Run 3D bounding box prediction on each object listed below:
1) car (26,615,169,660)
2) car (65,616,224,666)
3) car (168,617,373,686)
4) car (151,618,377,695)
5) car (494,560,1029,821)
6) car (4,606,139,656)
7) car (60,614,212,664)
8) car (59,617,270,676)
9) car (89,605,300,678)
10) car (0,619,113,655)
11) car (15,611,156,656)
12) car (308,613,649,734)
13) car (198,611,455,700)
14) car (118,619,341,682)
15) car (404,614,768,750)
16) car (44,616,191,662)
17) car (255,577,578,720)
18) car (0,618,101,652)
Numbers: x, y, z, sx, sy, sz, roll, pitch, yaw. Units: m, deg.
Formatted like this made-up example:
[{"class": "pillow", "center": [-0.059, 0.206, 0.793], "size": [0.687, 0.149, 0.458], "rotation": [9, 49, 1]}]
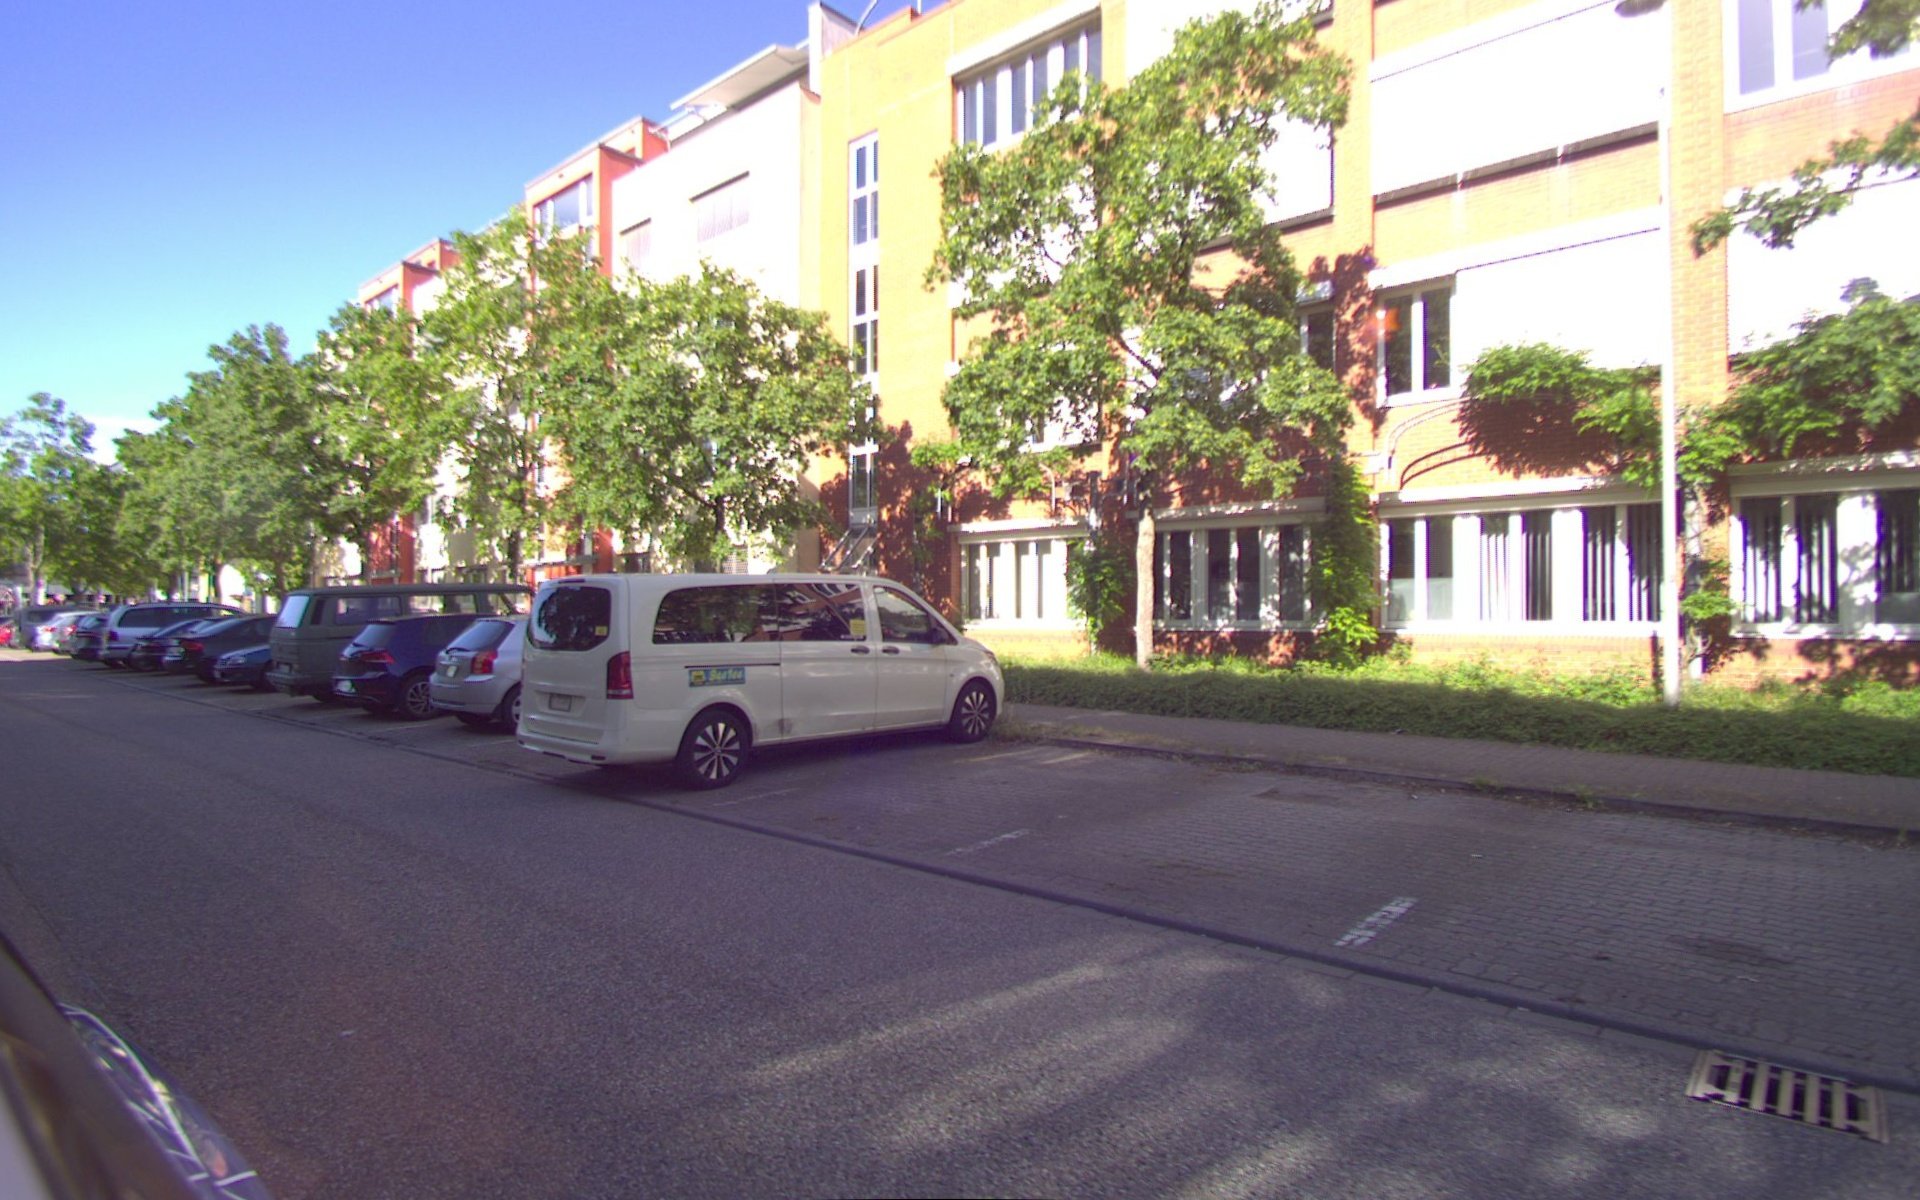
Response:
[{"class": "car", "center": [-31.428, 1.329, 36.963], "size": [1.873, 1.458, 3.691], "rotation": [-1, 0, 37]}, {"class": "car", "center": [-25.901, 1.256, 32.216], "size": [1.839, 1.438, 3.688], "rotation": [-1, 0, 40]}, {"class": "car", "center": [-16.234, 1.153, 23.957], "size": [1.724, 1.438, 3.688], "rotation": [-1, 0, 40]}, {"class": "car", "center": [-14.882, 1.142, 21.776], "size": [1.723, 1.438, 3.689], "rotation": [-1, 0, 39]}, {"class": "car", "center": [-1.683, 0.678, 10.284], "size": [1.943, 1.982, 5.201], "rotation": [-1, 0, 42]}, {"class": "car", "center": [-35.349, 1.202, 40.321], "size": [1.785, 1.825, 3.851], "rotation": [-1, 0, 41]}, {"class": "car", "center": [-27.547, 1.269, 33.916], "size": [1.858, 1.520, 3.688], "rotation": [-1, 0, 40]}, {"class": "car", "center": [-22.098, 1.233, 28.252], "size": [1.771, 1.438, 4.359], "rotation": [-1, 0, 39]}, {"class": "car", "center": [-20.265, 1.033, 26.896], "size": [4.270, 1.730, 1.964], "rotation": [-1, 0, -44]}, {"class": "car", "center": [-39.044, 1.561, 43.500], "size": [1.739, 1.434, 3.851], "rotation": [-1, 0, 41]}, {"class": "car", "center": [-33.425, 1.244, 38.751], "size": [1.858, 1.586, 3.853], "rotation": [-1, 0, 40]}, {"class": "car", "center": [-7.168, 0.994, 15.375], "size": [1.943, 1.489, 4.273], "rotation": [-1, 0, 43]}, {"class": "car", "center": [-12.666, 1.033, 20.434], "size": [1.724, 1.539, 4.089], "rotation": [-1, 0, 41]}, {"class": "car", "center": [-18.330, 1.205, 25.565], "size": [1.756, 1.369, 4.277], "rotation": [-1, 0, 40]}, {"class": "car", "center": [-4.960, 0.976, 13.865], "size": [1.943, 1.489, 4.273], "rotation": [-1, 0, 43]}, {"class": "car", "center": [-29.531, 1.320, 35.552], "size": [1.857, 1.458, 3.691], "rotation": [-1, 0, 37]}, {"class": "car", "center": [-9.146, 0.711, 17.292], "size": [2.083, 2.105, 4.439], "rotation": [-1, 0, 43]}, {"class": "car", "center": [-42.393, 1.582, 46.598], "size": [1.740, 1.434, 4.214], "rotation": [-1, 0, 45]}]
